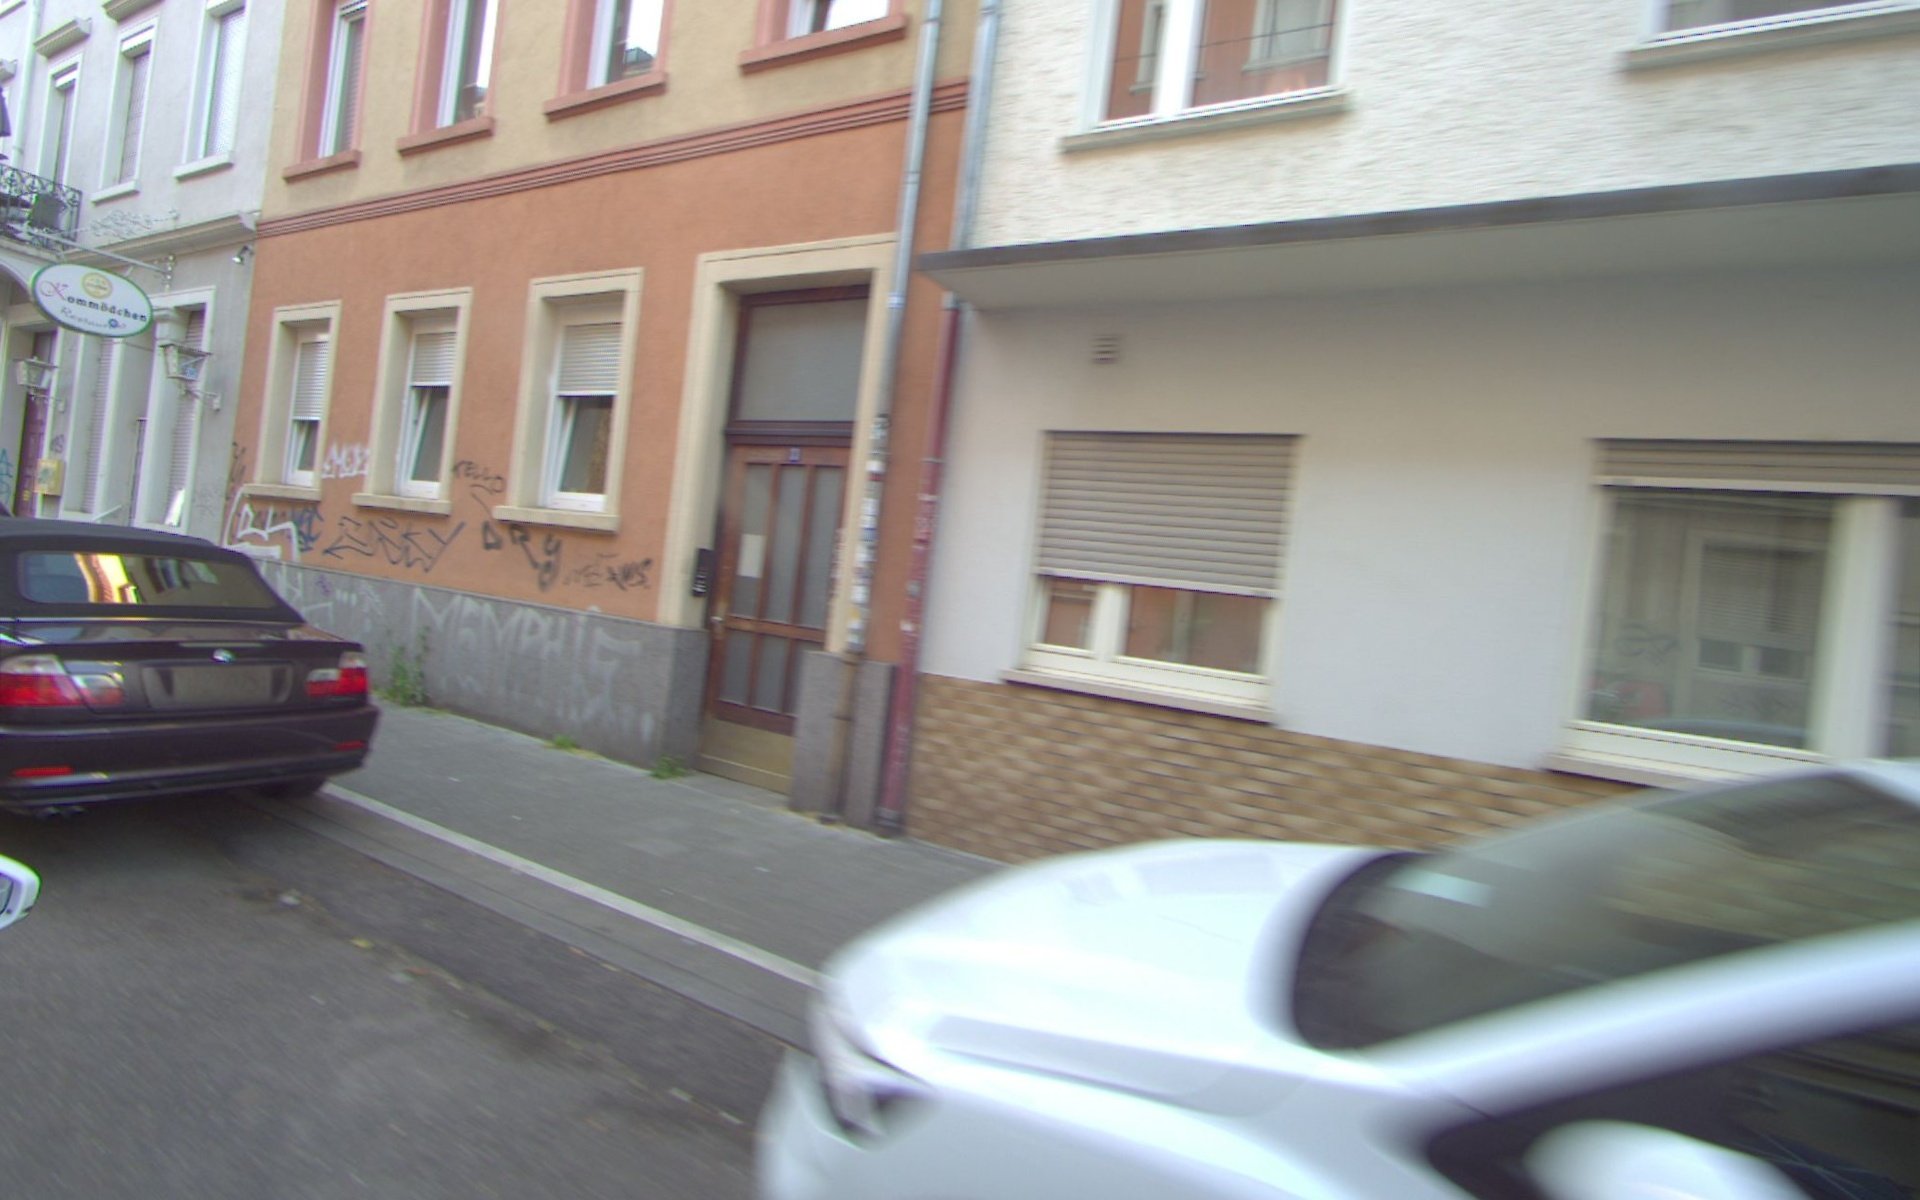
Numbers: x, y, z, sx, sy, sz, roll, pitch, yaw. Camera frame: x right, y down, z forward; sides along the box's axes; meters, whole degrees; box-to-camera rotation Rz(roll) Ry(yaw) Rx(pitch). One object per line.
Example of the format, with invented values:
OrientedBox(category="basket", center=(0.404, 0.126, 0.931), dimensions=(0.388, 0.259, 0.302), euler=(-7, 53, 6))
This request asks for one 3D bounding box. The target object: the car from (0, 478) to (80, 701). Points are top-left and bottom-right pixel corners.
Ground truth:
OrientedBox(category="car", center=(-8.991, -0.331, 8.127), dimensions=(4.122, 1.615, 1.682), euler=(7, -2, 34))

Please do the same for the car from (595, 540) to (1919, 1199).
OrientedBox(category="car", center=(1.493, 0.977, 1.439), dimensions=(3.793, 1.576, 1.684), euler=(7, -2, 29))

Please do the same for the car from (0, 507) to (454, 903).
OrientedBox(category="car", center=(-4.952, 0.252, 5.402), dimensions=(4.419, 1.410, 1.772), euler=(7, -2, 31))
